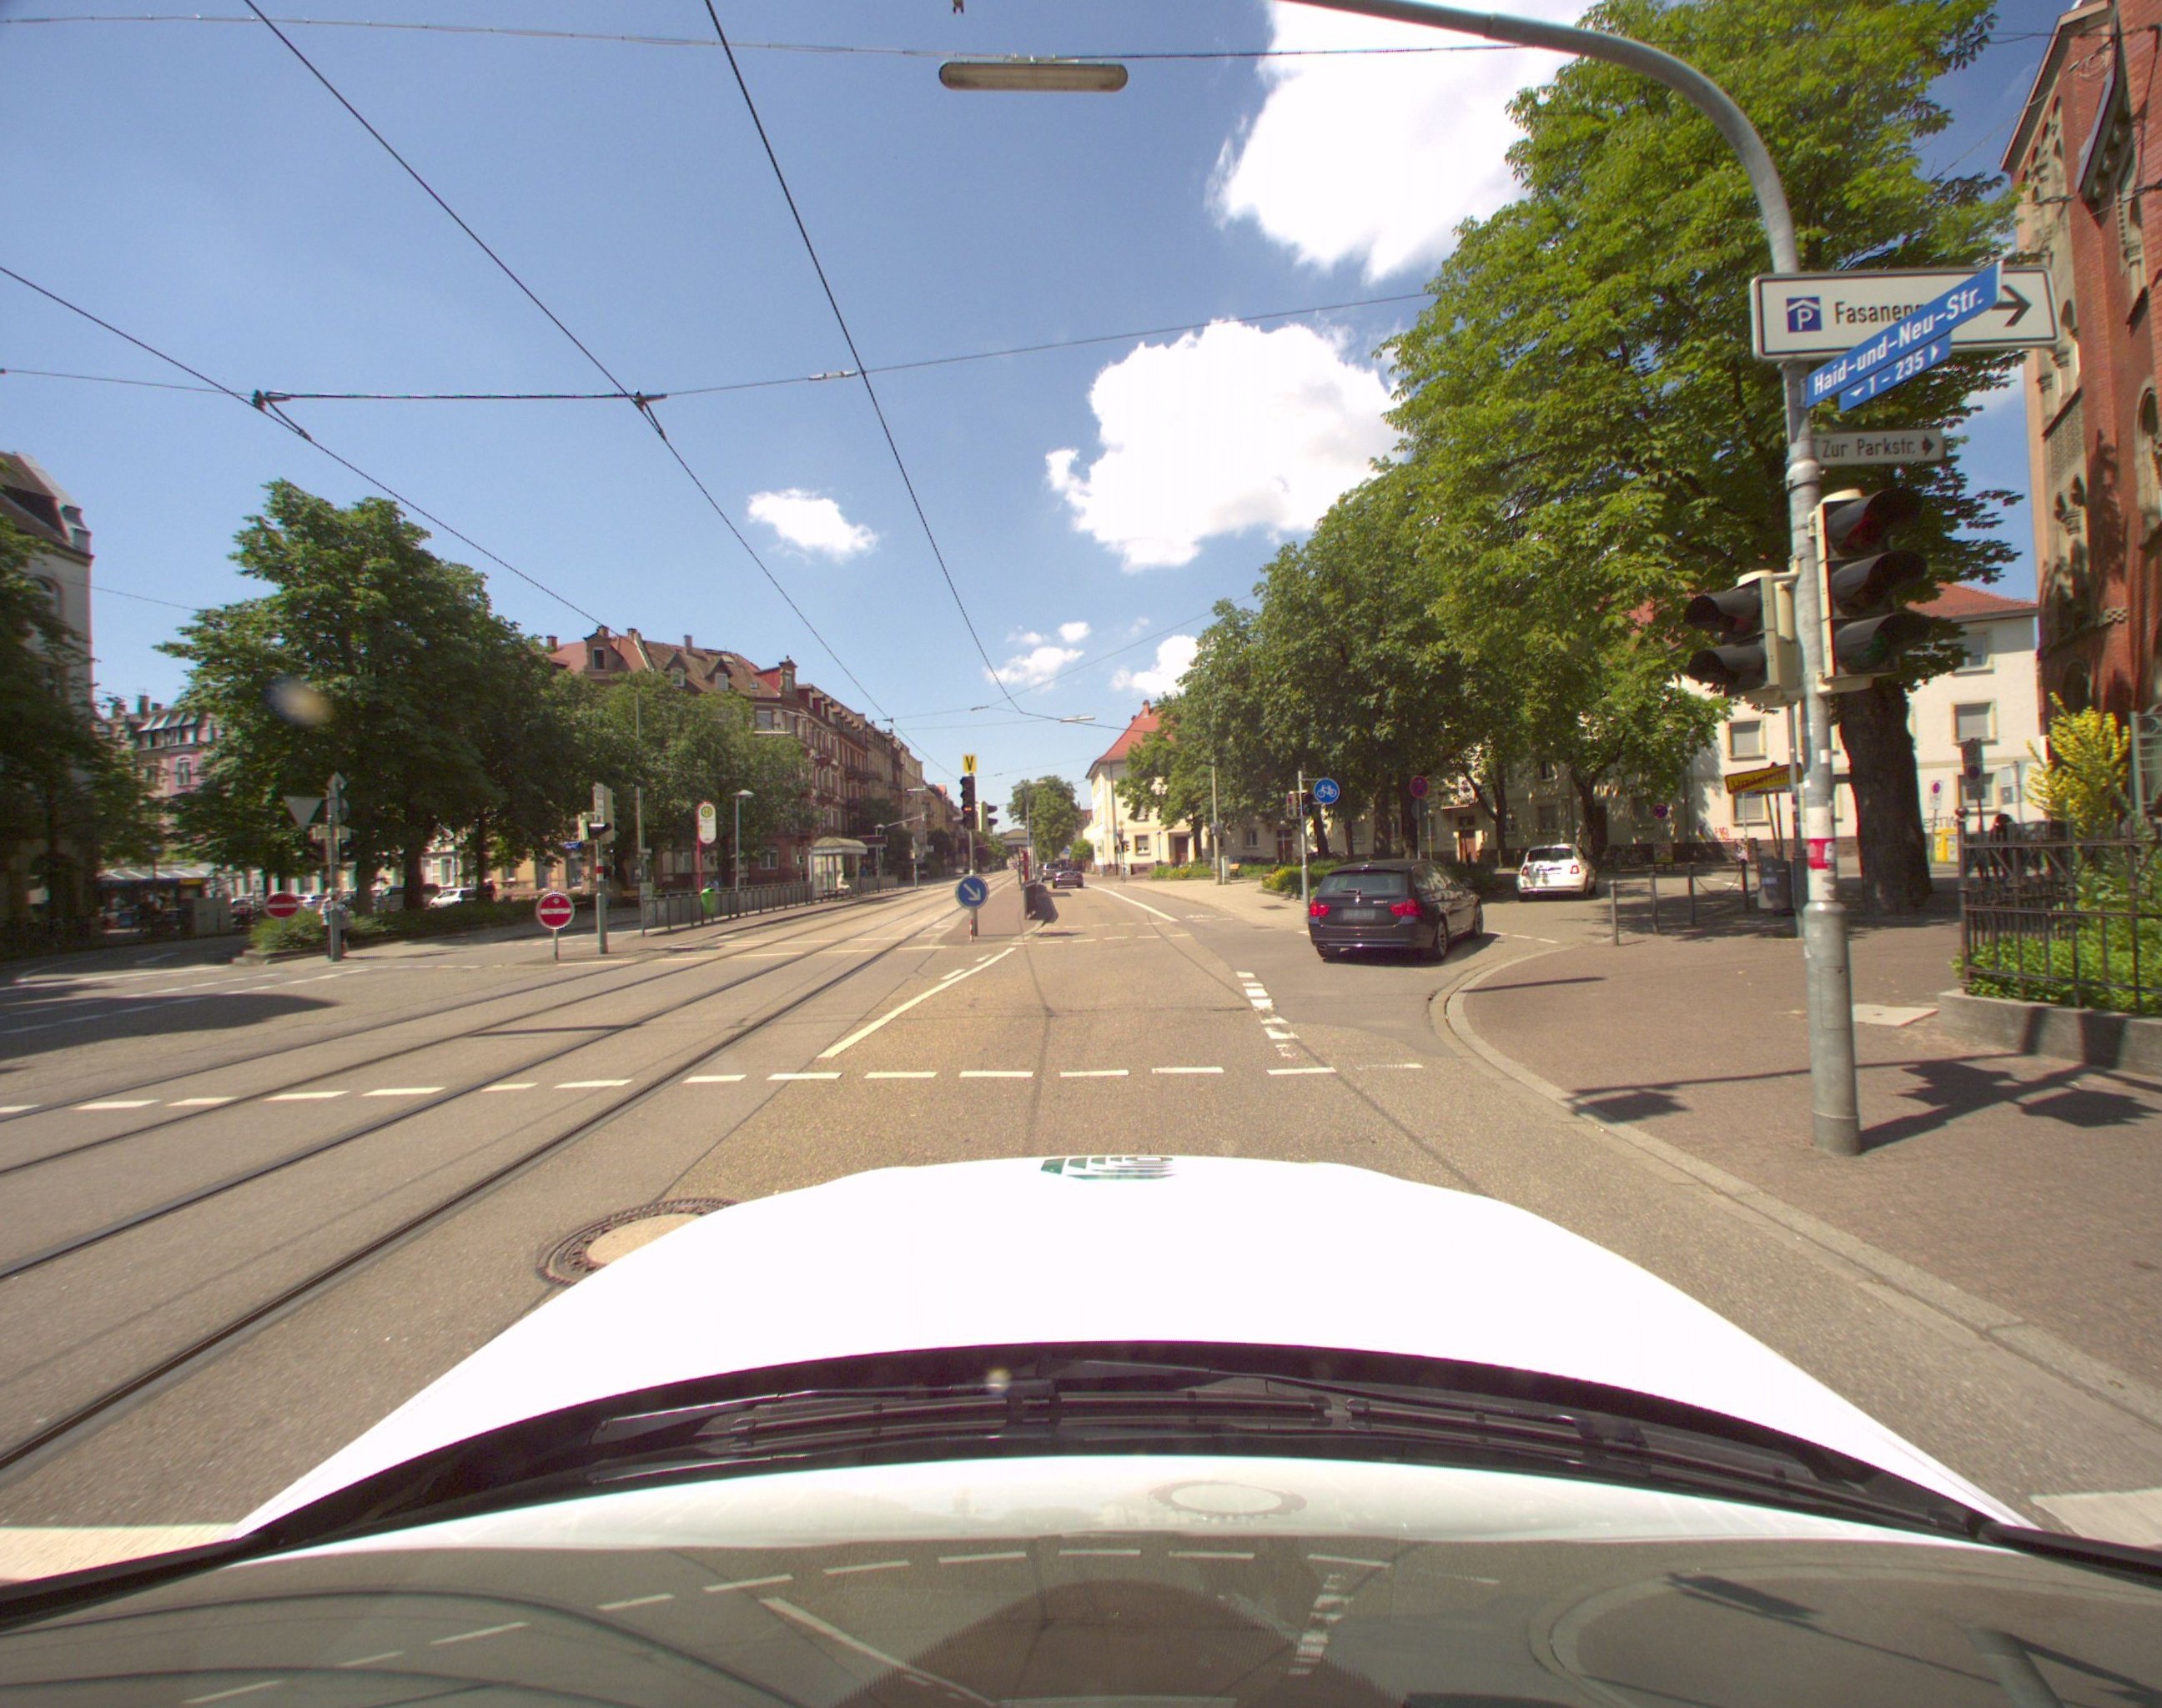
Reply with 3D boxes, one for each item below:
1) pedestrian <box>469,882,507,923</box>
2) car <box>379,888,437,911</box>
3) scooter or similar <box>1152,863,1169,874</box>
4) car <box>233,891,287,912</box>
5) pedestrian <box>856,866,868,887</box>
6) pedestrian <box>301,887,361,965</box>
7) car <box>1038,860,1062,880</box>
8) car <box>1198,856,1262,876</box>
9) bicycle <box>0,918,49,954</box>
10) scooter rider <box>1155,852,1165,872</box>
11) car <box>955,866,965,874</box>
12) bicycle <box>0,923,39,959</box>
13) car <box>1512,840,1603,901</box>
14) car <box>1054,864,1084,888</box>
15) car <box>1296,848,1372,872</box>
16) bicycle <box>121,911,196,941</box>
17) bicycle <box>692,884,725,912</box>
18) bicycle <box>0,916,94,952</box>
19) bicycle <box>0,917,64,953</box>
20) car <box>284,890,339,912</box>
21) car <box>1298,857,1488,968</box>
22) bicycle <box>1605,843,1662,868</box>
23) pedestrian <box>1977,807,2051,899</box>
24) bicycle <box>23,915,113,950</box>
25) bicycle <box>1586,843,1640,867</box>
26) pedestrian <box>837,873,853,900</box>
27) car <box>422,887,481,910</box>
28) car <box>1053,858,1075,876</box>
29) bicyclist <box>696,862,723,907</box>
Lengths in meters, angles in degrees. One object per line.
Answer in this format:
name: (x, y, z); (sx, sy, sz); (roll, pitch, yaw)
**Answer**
pedestrian: (-28.331, 2.307, 38.916); (0.992, 1.868, 1.021); (-3, -1, 15)
car: (-48.189, 3.233, 58.346); (3.430, 1.471, 1.694); (-3, -1, 21)
scooter or similar: (6.677, 1.194, 68.453); (1.311, 0.837, 0.525); (-2, -1, -9)
car: (-64.661, 3.709, 64.144); (3.430, 1.471, 1.694); (-3, -1, 21)
pedestrian: (-19.682, 2.018, 73.298); (0.633, 1.811, 0.744); (-3, -1, 23)
pedestrian: (-17.460, 1.653, 18.978); (0.844, 1.723, 0.909); (-2, -1, -34)
car: (-2.543, 1.271, 66.044); (1.689, 1.514, 3.812); (-2, -1, -6)
car: (10.279, 0.824, 56.333); (3.948, 1.243, 1.634); (-3, -1, 32)
bicycle: (-34.032, 2.614, 25.613); (1.859, 1.032, 0.540); (-2, -1, -26)
scooter rider: (6.644, 0.685, 68.462); (0.590, 1.687, 0.527); (-2, -1, -9)
car: (-24.139, 3.280, 162.859); (1.788, 1.586, 3.983); (-1, -1, -12)
bicycle: (-32.806, 2.654, 24.420); (1.859, 1.032, 0.540); (-2, -1, -25)
car: (13.075, 0.408, 22.248); (1.668, 1.484, 3.708); (-3, -1, 37)
car: (-0.789, 1.301, 49.521); (1.687, 1.323, 3.817); (-2, -1, -2)
car: (15.787, 0.414, 50.982); (1.800, 1.328, 4.291); (-2, -1, -35)
bicycle: (-36.079, 2.807, 31.869); (1.859, 1.032, 0.540); (-2, -1, -26)
bicycle: (-16.056, 1.894, 35.155); (0.727, 1.101, 1.712); (-2, -1, -5)
bicycle: (-34.525, 2.655, 27.215); (1.859, 1.032, 0.540); (-2, -1, -26)
bicycle: (-34.255, 2.630, 26.192); (1.859, 1.032, 0.540); (-2, -1, -26)
car: (-58.755, 3.606, 62.196); (3.430, 1.471, 1.694); (-3, -1, 21)
car: (5.055, 0.770, 12.781); (1.706, 1.409, 4.594); (-1, -1, 35)
bicycle: (25.148, 0.066, 37.086); (2.206, 1.058, 0.653); (-3, -1, -6)
pedestrian: (16.306, -0.012, 14.257); (0.806, 1.556, 0.741); (-2, -1, -44)
bicycle: (-34.858, 2.674, 28.045); (1.859, 1.032, 0.540); (-2, -1, -26)
bicycle: (25.376, 0.060, 38.852); (2.204, 1.058, 0.557); (-3, -1, -2)
pedestrian: (-11.283, 1.566, 38.961); (0.613, 1.243, 0.626); (-2, -1, -9)
car: (-44.268, 3.126, 57.261); (3.430, 1.471, 1.694); (-3, -1, 21)
car: (-1.927, 1.444, 89.569); (1.992, 1.849, 3.990); (-3, -1, -7)
bicyclist: (-16.066, 1.305, 35.262); (0.721, 1.870, 0.825); (-3, -1, -2)
